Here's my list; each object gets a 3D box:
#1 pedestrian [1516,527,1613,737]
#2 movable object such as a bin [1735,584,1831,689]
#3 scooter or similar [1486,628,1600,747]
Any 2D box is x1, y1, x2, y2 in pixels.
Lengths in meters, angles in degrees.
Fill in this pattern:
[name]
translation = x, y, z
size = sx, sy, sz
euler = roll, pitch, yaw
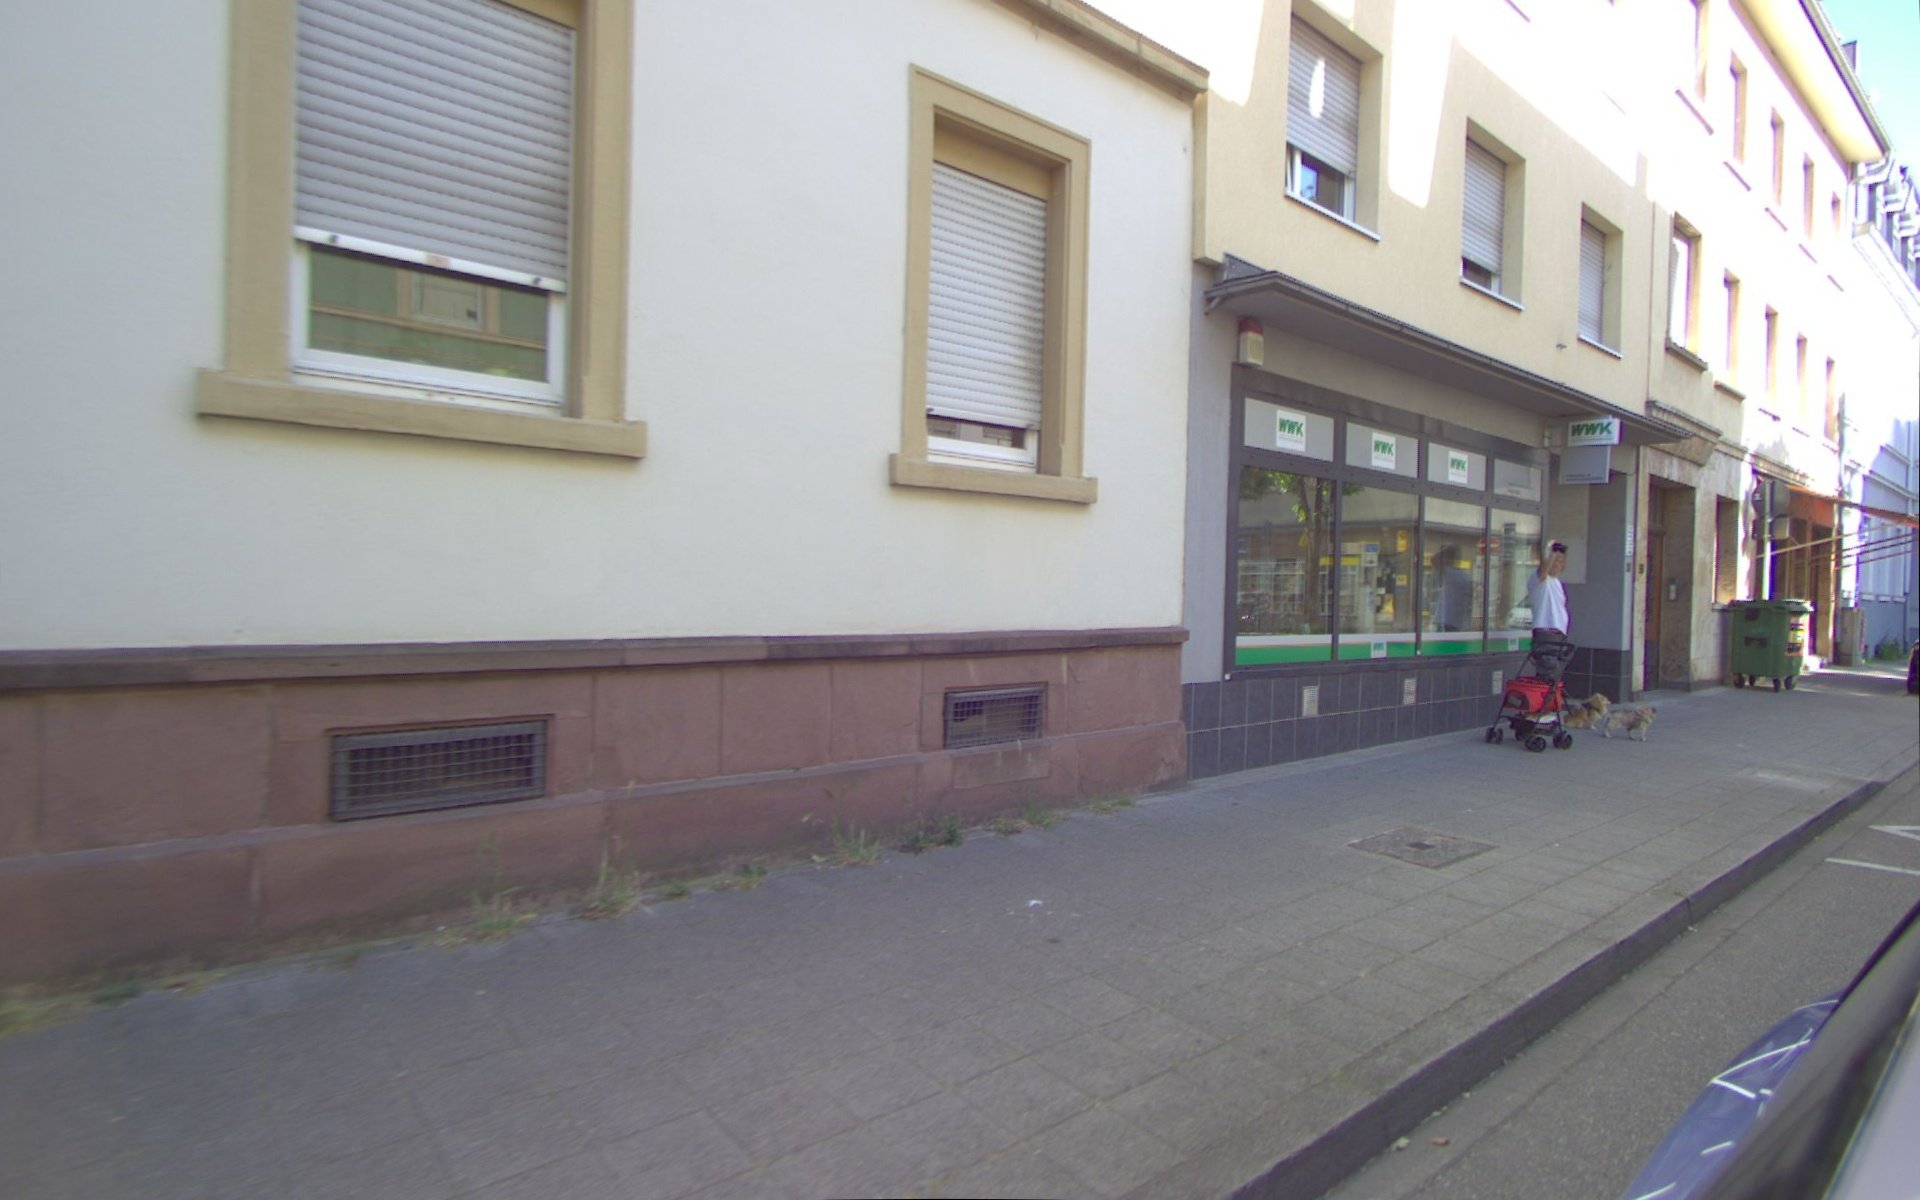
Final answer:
[pedestrian]
translation = 5.738, 0.273, 9.649
size = 0.645, 1.882, 0.741
euler = 4, 2, 28
[movable object such as a bin]
translation = 12.271, 0.518, 15.087
size = 1.347, 1.454, 0.748
euler = 0, 4, -38
[scooter or similar]
translation = 5.126, 0.746, 8.893
size = 0.851, 0.956, 0.492
euler = 2, 1, -33
